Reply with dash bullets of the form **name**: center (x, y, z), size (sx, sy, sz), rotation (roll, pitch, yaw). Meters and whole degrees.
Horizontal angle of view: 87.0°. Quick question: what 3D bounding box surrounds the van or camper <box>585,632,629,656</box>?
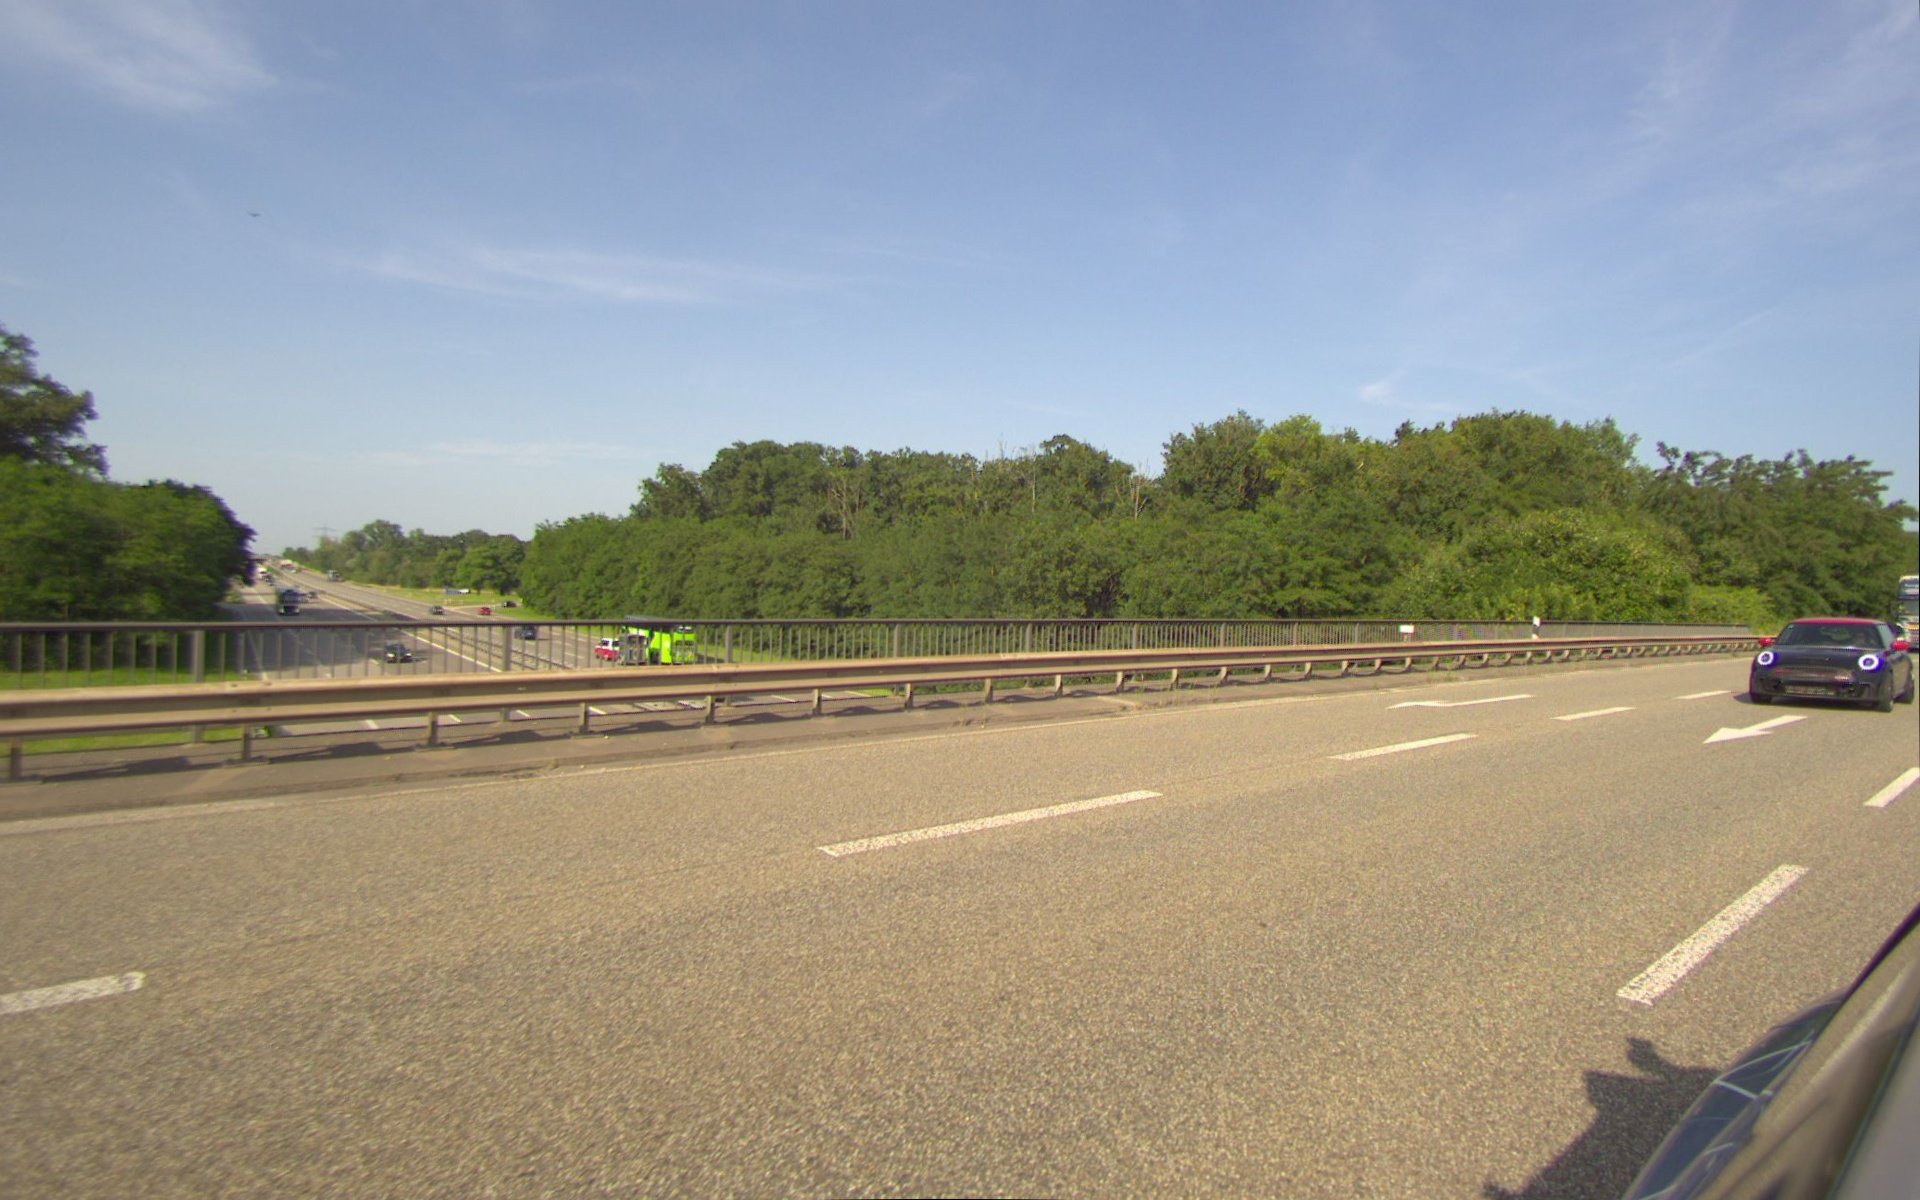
- **van or camper**: center (-32.262, 3.982, 92.485), size (2.348, 1.984, 5.130), rotation (0, 0, -37)

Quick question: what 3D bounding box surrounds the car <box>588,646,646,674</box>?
- **car**: center (-27.101, 4.717, 79.890), size (2.652, 1.764, 5.682), rotation (-1, 1, -37)

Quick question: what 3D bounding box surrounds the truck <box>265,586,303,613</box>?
- **truck**: center (-103.368, -0.107, 154.671), size (3.578, 3.897, 11.727), rotation (0, 0, -40)

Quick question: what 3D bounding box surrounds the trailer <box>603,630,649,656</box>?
- **trailer**: center (-29.193, 3.706, 88.408), size (2.348, 1.984, 4.967), rotation (0, 0, -37)

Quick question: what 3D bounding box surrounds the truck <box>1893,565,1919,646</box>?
- **truck**: center (54.148, 0.208, 55.220), size (14.310, 4.069, 3.194), rotation (-1, 0, -41)

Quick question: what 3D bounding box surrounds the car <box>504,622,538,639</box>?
- **car**: center (-50.030, 3.422, 115.355), size (2.417, 1.764, 5.171), rotation (-1, 1, -37)

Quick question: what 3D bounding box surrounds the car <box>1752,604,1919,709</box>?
- **car**: center (14.744, 0.839, 16.807), size (3.805, 1.486, 1.823), rotation (-1, 0, -41)

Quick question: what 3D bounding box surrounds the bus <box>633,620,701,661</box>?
- **bus**: center (-26.687, 3.602, 91.772), size (2.679, 3.291, 9.763), rotation (0, 0, -37)

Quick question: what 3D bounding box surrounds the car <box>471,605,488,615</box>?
- **car**: center (-84.242, 1.789, 177.348), size (2.344, 1.684, 5.139), rotation (0, 1, -30)

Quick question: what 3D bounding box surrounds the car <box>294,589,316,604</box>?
- **car**: center (-143.096, -0.847, 221.079), size (2.972, 3.266, 7.507), rotation (0, 0, -40)

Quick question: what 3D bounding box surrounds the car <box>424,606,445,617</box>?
- **car**: center (-87.205, 1.893, 167.931), size (2.348, 1.684, 5.130), rotation (-1, 1, -37)
